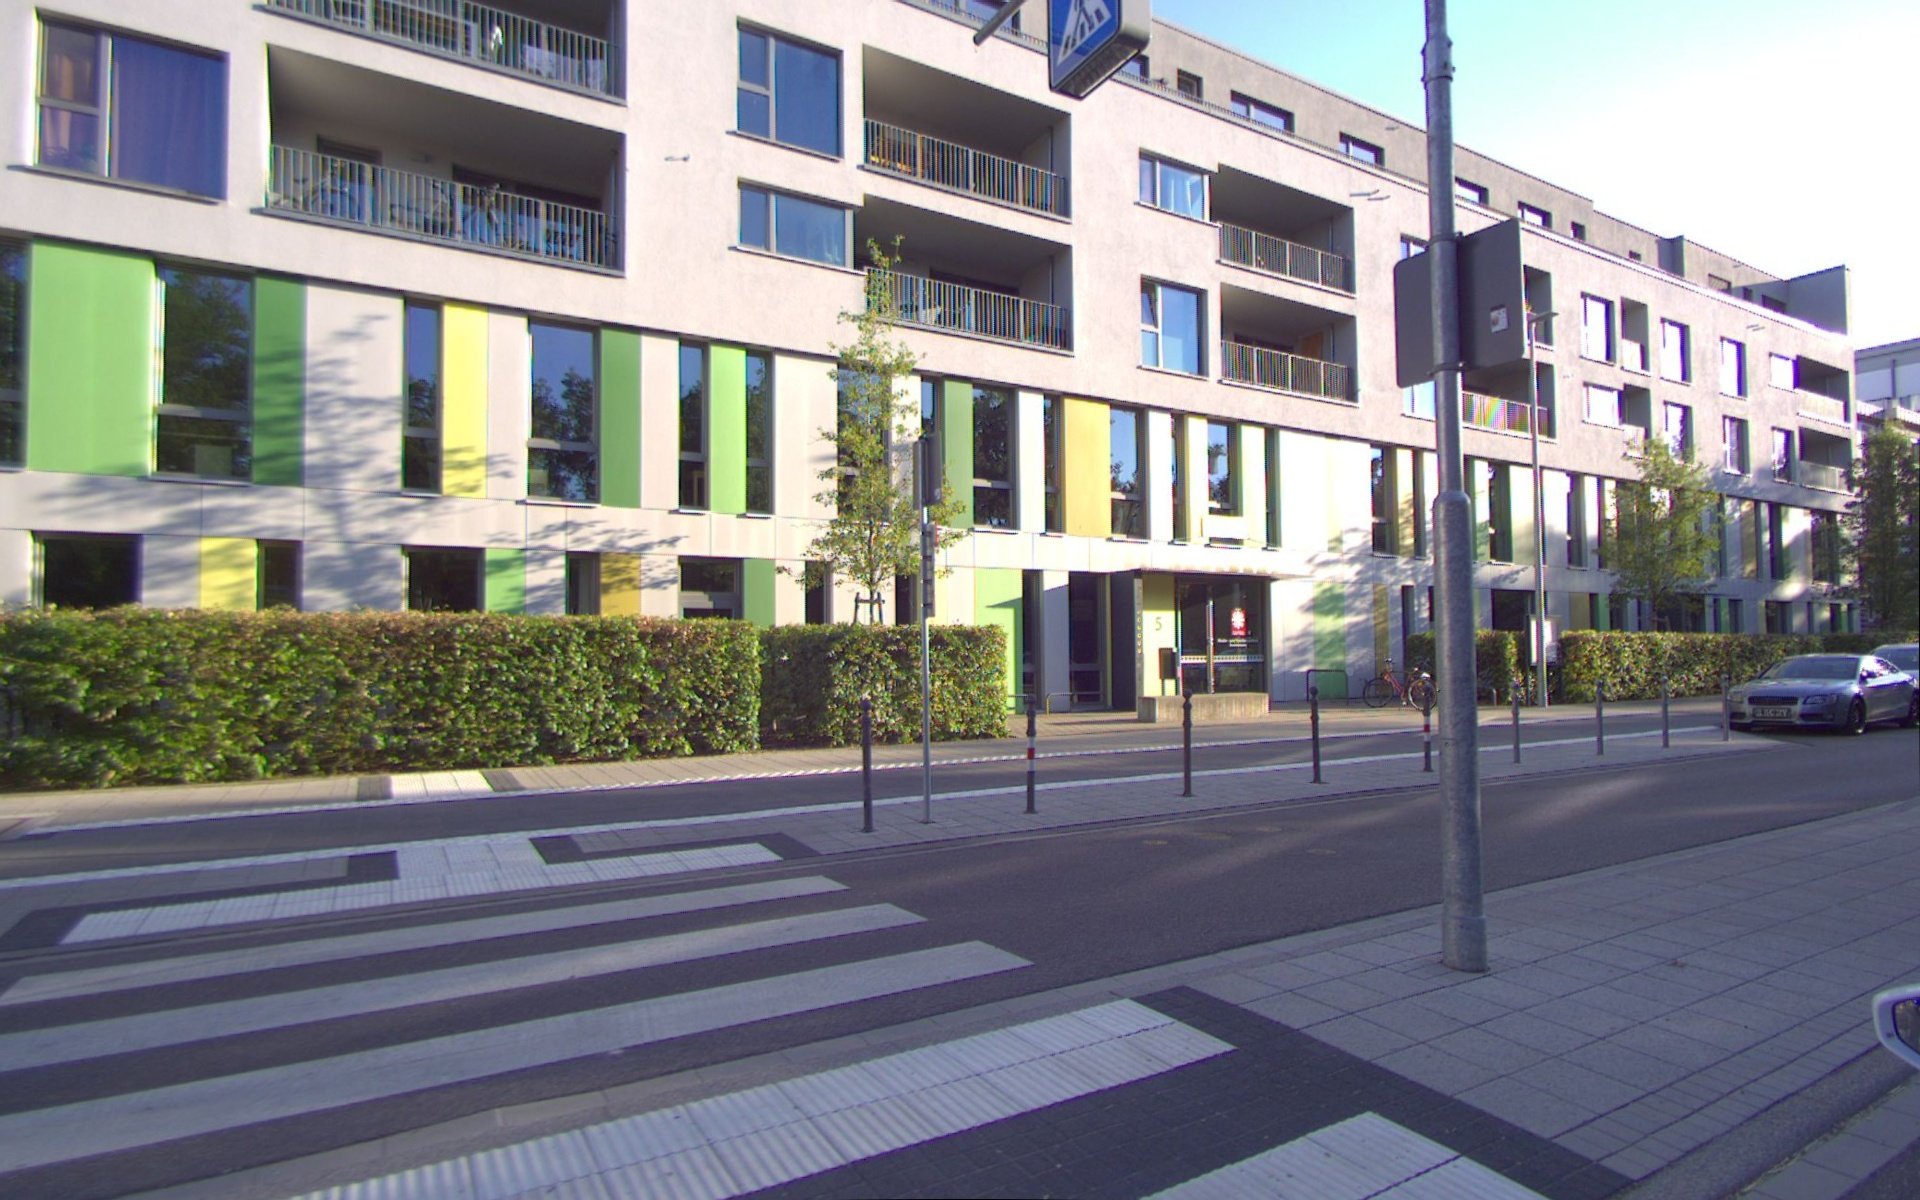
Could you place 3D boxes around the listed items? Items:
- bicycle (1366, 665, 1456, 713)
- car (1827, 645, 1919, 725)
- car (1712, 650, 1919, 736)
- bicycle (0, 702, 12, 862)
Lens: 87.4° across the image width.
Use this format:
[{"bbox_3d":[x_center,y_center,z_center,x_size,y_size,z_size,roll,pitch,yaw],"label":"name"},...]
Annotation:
[{"bbox_3d":[9.734,1.907,21.750,0.611,0.930,1.742,1,-2,-32],"label":"bicycle"},{"bbox_3d":[20.090,1.720,21.084,4.071,1.553,1.733,1,-4,-33],"label":"car"},{"bbox_3d":[15.761,1.633,18.314,4.345,1.374,1.734,1,-4,-31],"label":"car"},{"bbox_3d":[-7.305,1.228,6.295,1.862,1.092,0.630,1,-3,-31],"label":"bicycle"}]
